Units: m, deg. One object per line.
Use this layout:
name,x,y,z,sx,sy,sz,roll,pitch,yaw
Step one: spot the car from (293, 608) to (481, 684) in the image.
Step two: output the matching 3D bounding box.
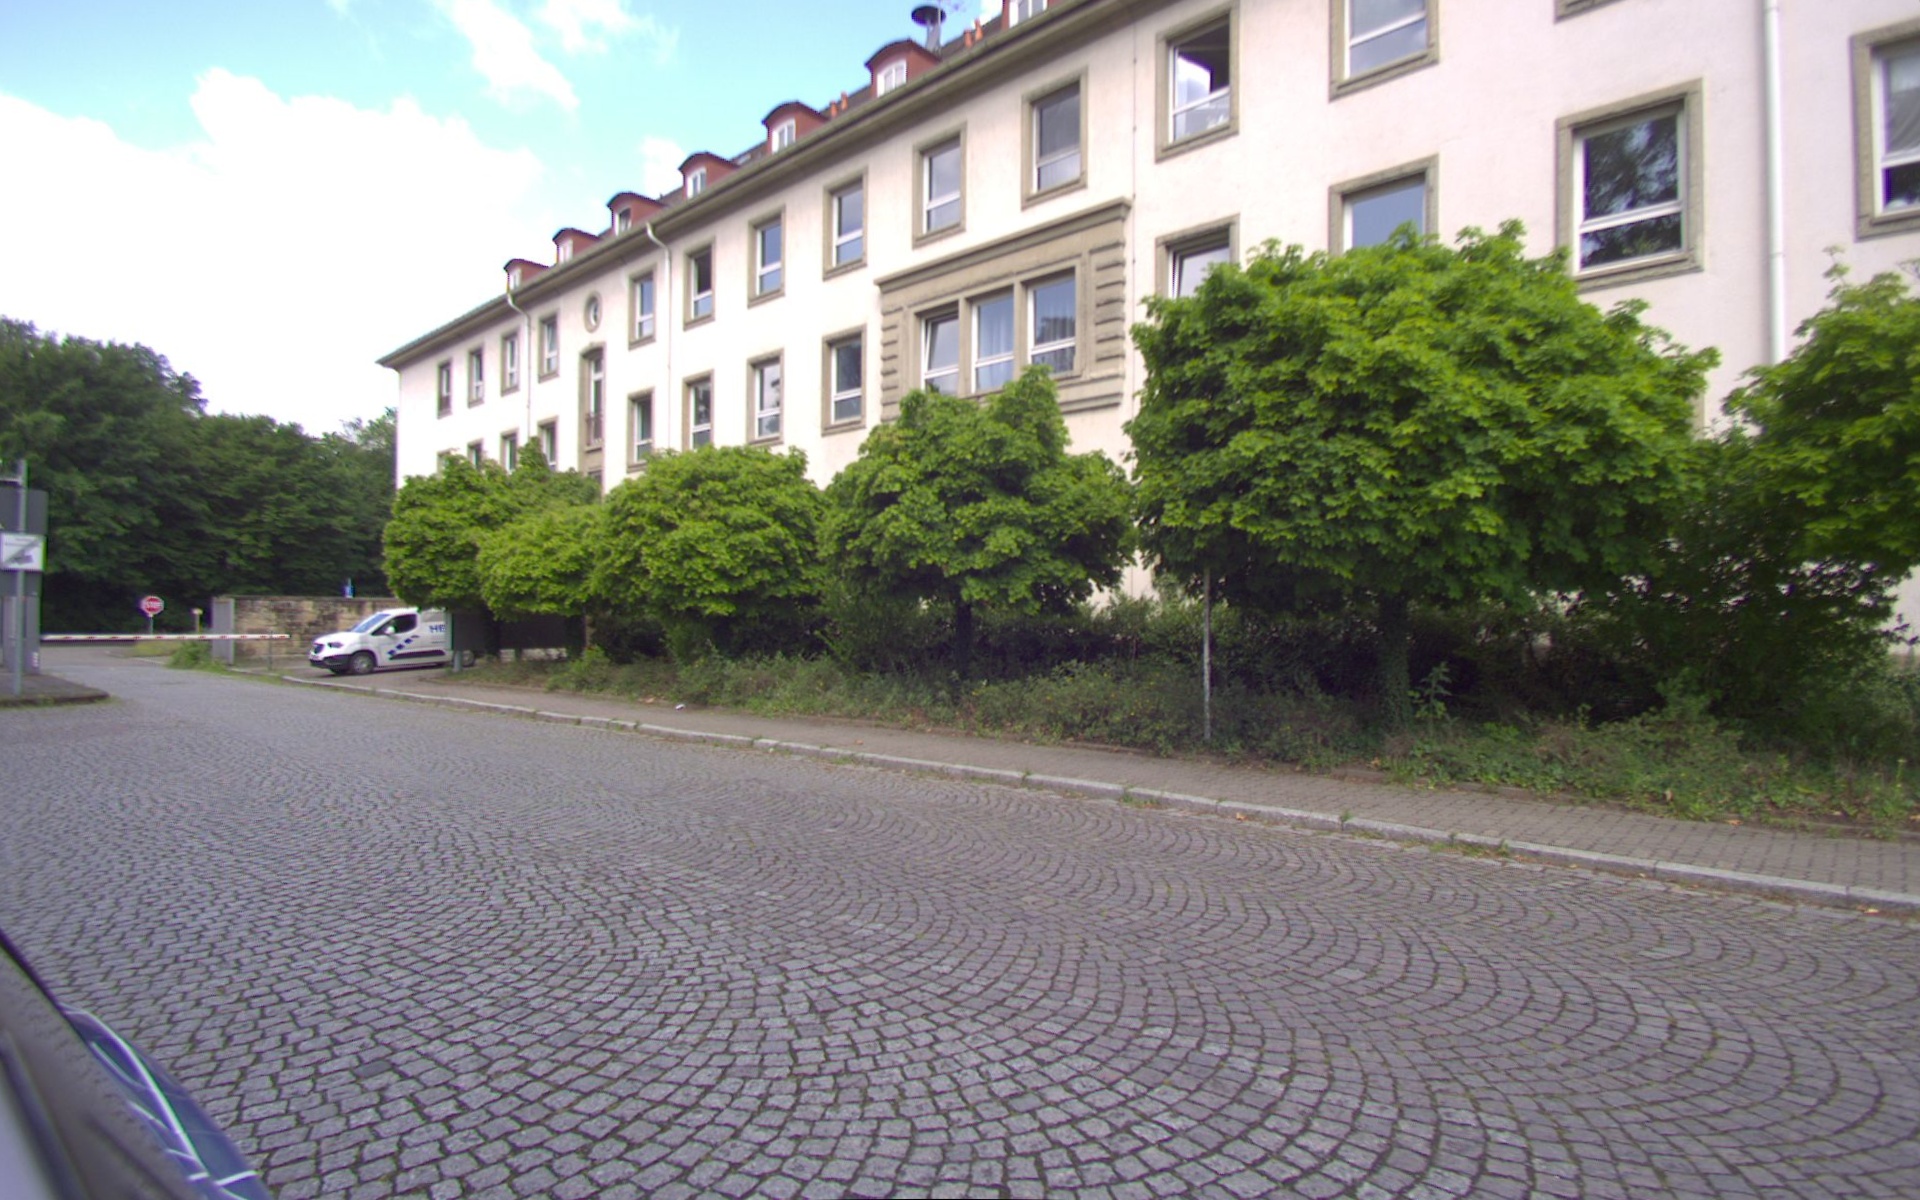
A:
car,-16.240,1.239,28.850,1.819,1.819,4.258,-1,1,40
